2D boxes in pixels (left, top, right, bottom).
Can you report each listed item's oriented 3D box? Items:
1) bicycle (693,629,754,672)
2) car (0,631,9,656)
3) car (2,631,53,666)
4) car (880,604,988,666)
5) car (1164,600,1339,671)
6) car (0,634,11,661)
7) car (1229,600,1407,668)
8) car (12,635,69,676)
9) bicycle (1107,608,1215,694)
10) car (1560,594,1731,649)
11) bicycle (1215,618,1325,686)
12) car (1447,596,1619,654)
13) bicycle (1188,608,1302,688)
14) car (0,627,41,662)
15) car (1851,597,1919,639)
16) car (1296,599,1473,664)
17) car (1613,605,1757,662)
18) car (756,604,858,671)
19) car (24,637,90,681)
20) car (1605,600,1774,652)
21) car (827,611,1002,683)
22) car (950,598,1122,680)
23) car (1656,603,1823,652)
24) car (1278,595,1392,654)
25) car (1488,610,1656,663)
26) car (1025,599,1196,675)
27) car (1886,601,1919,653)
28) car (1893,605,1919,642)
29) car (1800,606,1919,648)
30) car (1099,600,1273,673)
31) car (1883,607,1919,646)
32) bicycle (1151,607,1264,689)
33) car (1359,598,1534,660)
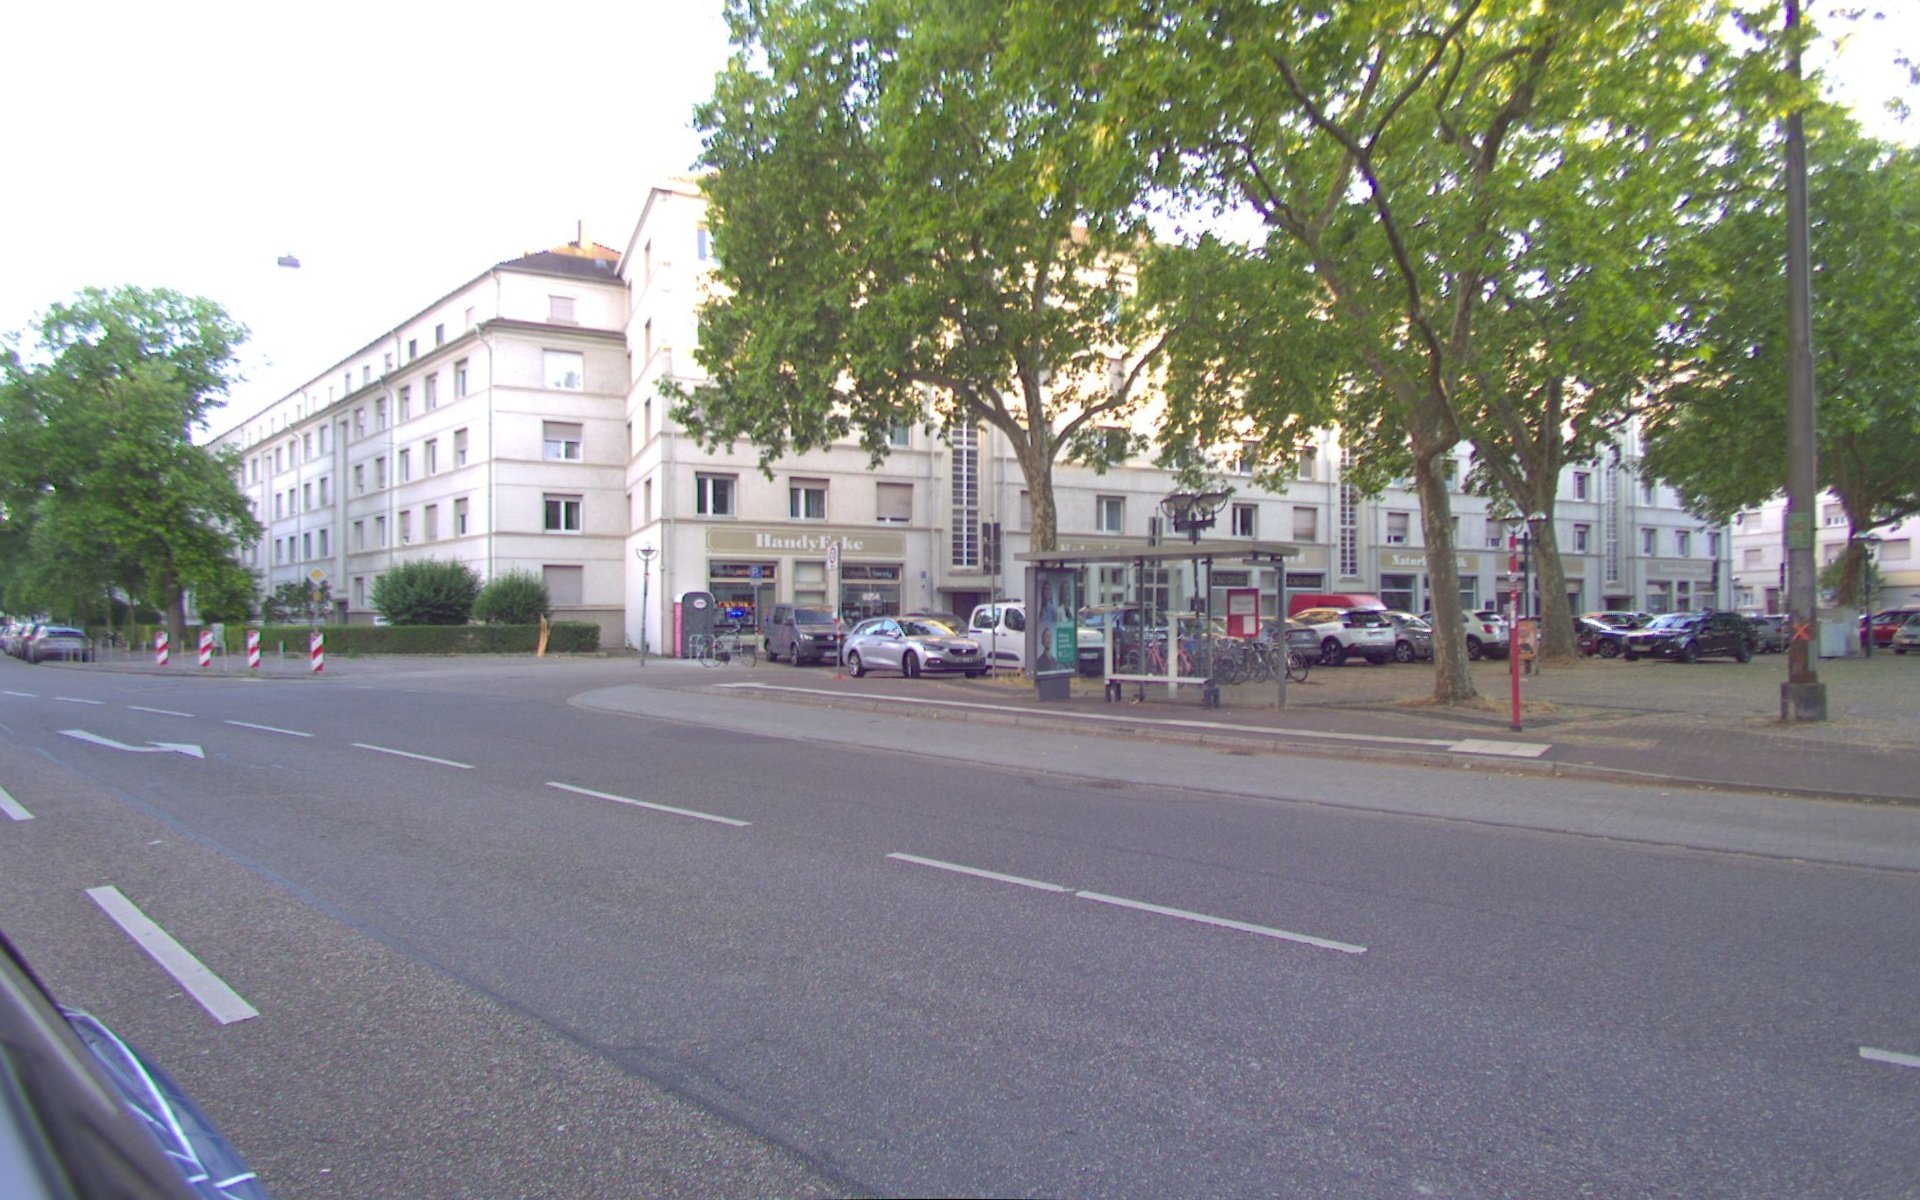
[{"bbox_3d":[-7.166,1.524,30.657,1.776,1.215,0.649,-1,0,-16],"label":"bicycle"},{"bbox_3d":[-76.293,3.410,79.748,1.866,1.879,4.263,-1,0,-44],"label":"car"},{"bbox_3d":[-48.529,2.495,52.623,1.866,1.612,4.263,-1,0,-44],"label":"car"},{"bbox_3d":[-0.987,1.161,35.414,1.965,1.970,4.656,1,0,-26],"label":"car"},{"bbox_3d":[7.976,1.040,28.201,1.965,1.795,4.655,1,-4,-28],"label":"car"},{"bbox_3d":[-70.032,3.466,73.257,1.866,1.840,4.263,-1,0,-44],"label":"car"},{"bbox_3d":[10.172,1.022,29.152,1.965,1.795,4.655,1,-4,-28],"label":"car"},{"bbox_3d":[-43.248,2.583,47.572,1.866,1.703,4.263,-1,0,-44],"label":"car"},{"bbox_3d":[4.056,0.986,20.713,0.680,1.626,2.754,-1,0,-24],"label":"bicycle"},{"bbox_3d":[24.743,0.844,36.745,2.057,1.795,4.655,1,-4,-28],"label":"car"},{"bbox_3d":[6.886,1.109,22.670,0.680,1.394,2.754,-1,0,-24],"label":"bicycle"},{"bbox_3d":[19.184,0.903,34.103,1.965,1.795,4.655,1,-4,-28],"label":"car"},{"bbox_3d":[6.174,0.990,22.157,0.795,1.626,2.754,-1,0,-24],"label":"bicycle"},{"bbox_3d":[-52.867,2.454,56.706,1.866,1.787,4.263,-1,0,-44],"label":"car"},{"bbox_3d":[43.436,0.801,45.539,1.968,1.824,4.658,2,-4,-38],"label":"car"},{"bbox_3d":[12.603,1.010,30.370,1.965,1.795,4.655,1,-4,-28],"label":"car"},{"bbox_3d":[20.752,0.930,28.975,3.696,1.540,1.680,0,-1,-23],"label":"car"},{"bbox_3d":[-5.088,1.170,33.069,1.965,1.970,4.656,1,0,-26],"label":"car"},{"bbox_3d":[-37.349,2.401,41.830,1.866,1.612,4.003,-1,0,-44],"label":"car"},{"bbox_3d":[27.086,1.034,37.757,1.965,1.795,4.655,1,-4,-28],"label":"car"},{"bbox_3d":[-1.193,1.134,23.889,1.967,1.515,4.652,2,-4,-35],"label":"car"},{"bbox_3d":[1.721,0.990,24.759,1.965,1.795,4.655,1,-4,-28],"label":"car"},{"bbox_3d":[29.929,1.107,39.028,1.965,1.748,4.655,1,-4,-28],"label":"car"},{"bbox_3d":[16.654,1.048,45.178,1.965,2.460,4.656,1,0,-26],"label":"car"},{"bbox_3d":[21.369,1.329,35.560,1.965,1.748,4.655,1,-4,-28],"label":"car"},{"bbox_3d":[3.765,1.007,26.216,1.965,1.795,4.655,1,-4,-28],"label":"car"},{"bbox_3d":[33.076,0.868,33.878,3.696,1.674,1.680,-1,0,-23],"label":"car"},{"bbox_3d":[47.673,1.064,48.078,1.969,1.748,4.648,2,-4,-40],"label":"car"},{"bbox_3d":[40.639,1.243,45.085,1.969,1.748,4.648,2,-4,-40],"label":"car"},{"bbox_3d":[5.922,1.024,27.120,1.965,1.795,4.655,1,-4,-28],"label":"car"},{"bbox_3d":[45.730,1.195,46.494,1.969,1.748,4.648,2,-4,-40],"label":"car"},{"bbox_3d":[5.235,0.973,21.641,0.795,1.626,2.754,-1,0,-24],"label":"bicycle"},{"bbox_3d":[15.174,0.985,31.870,1.965,1.795,4.655,1,-4,-28],"label":"car"}]
